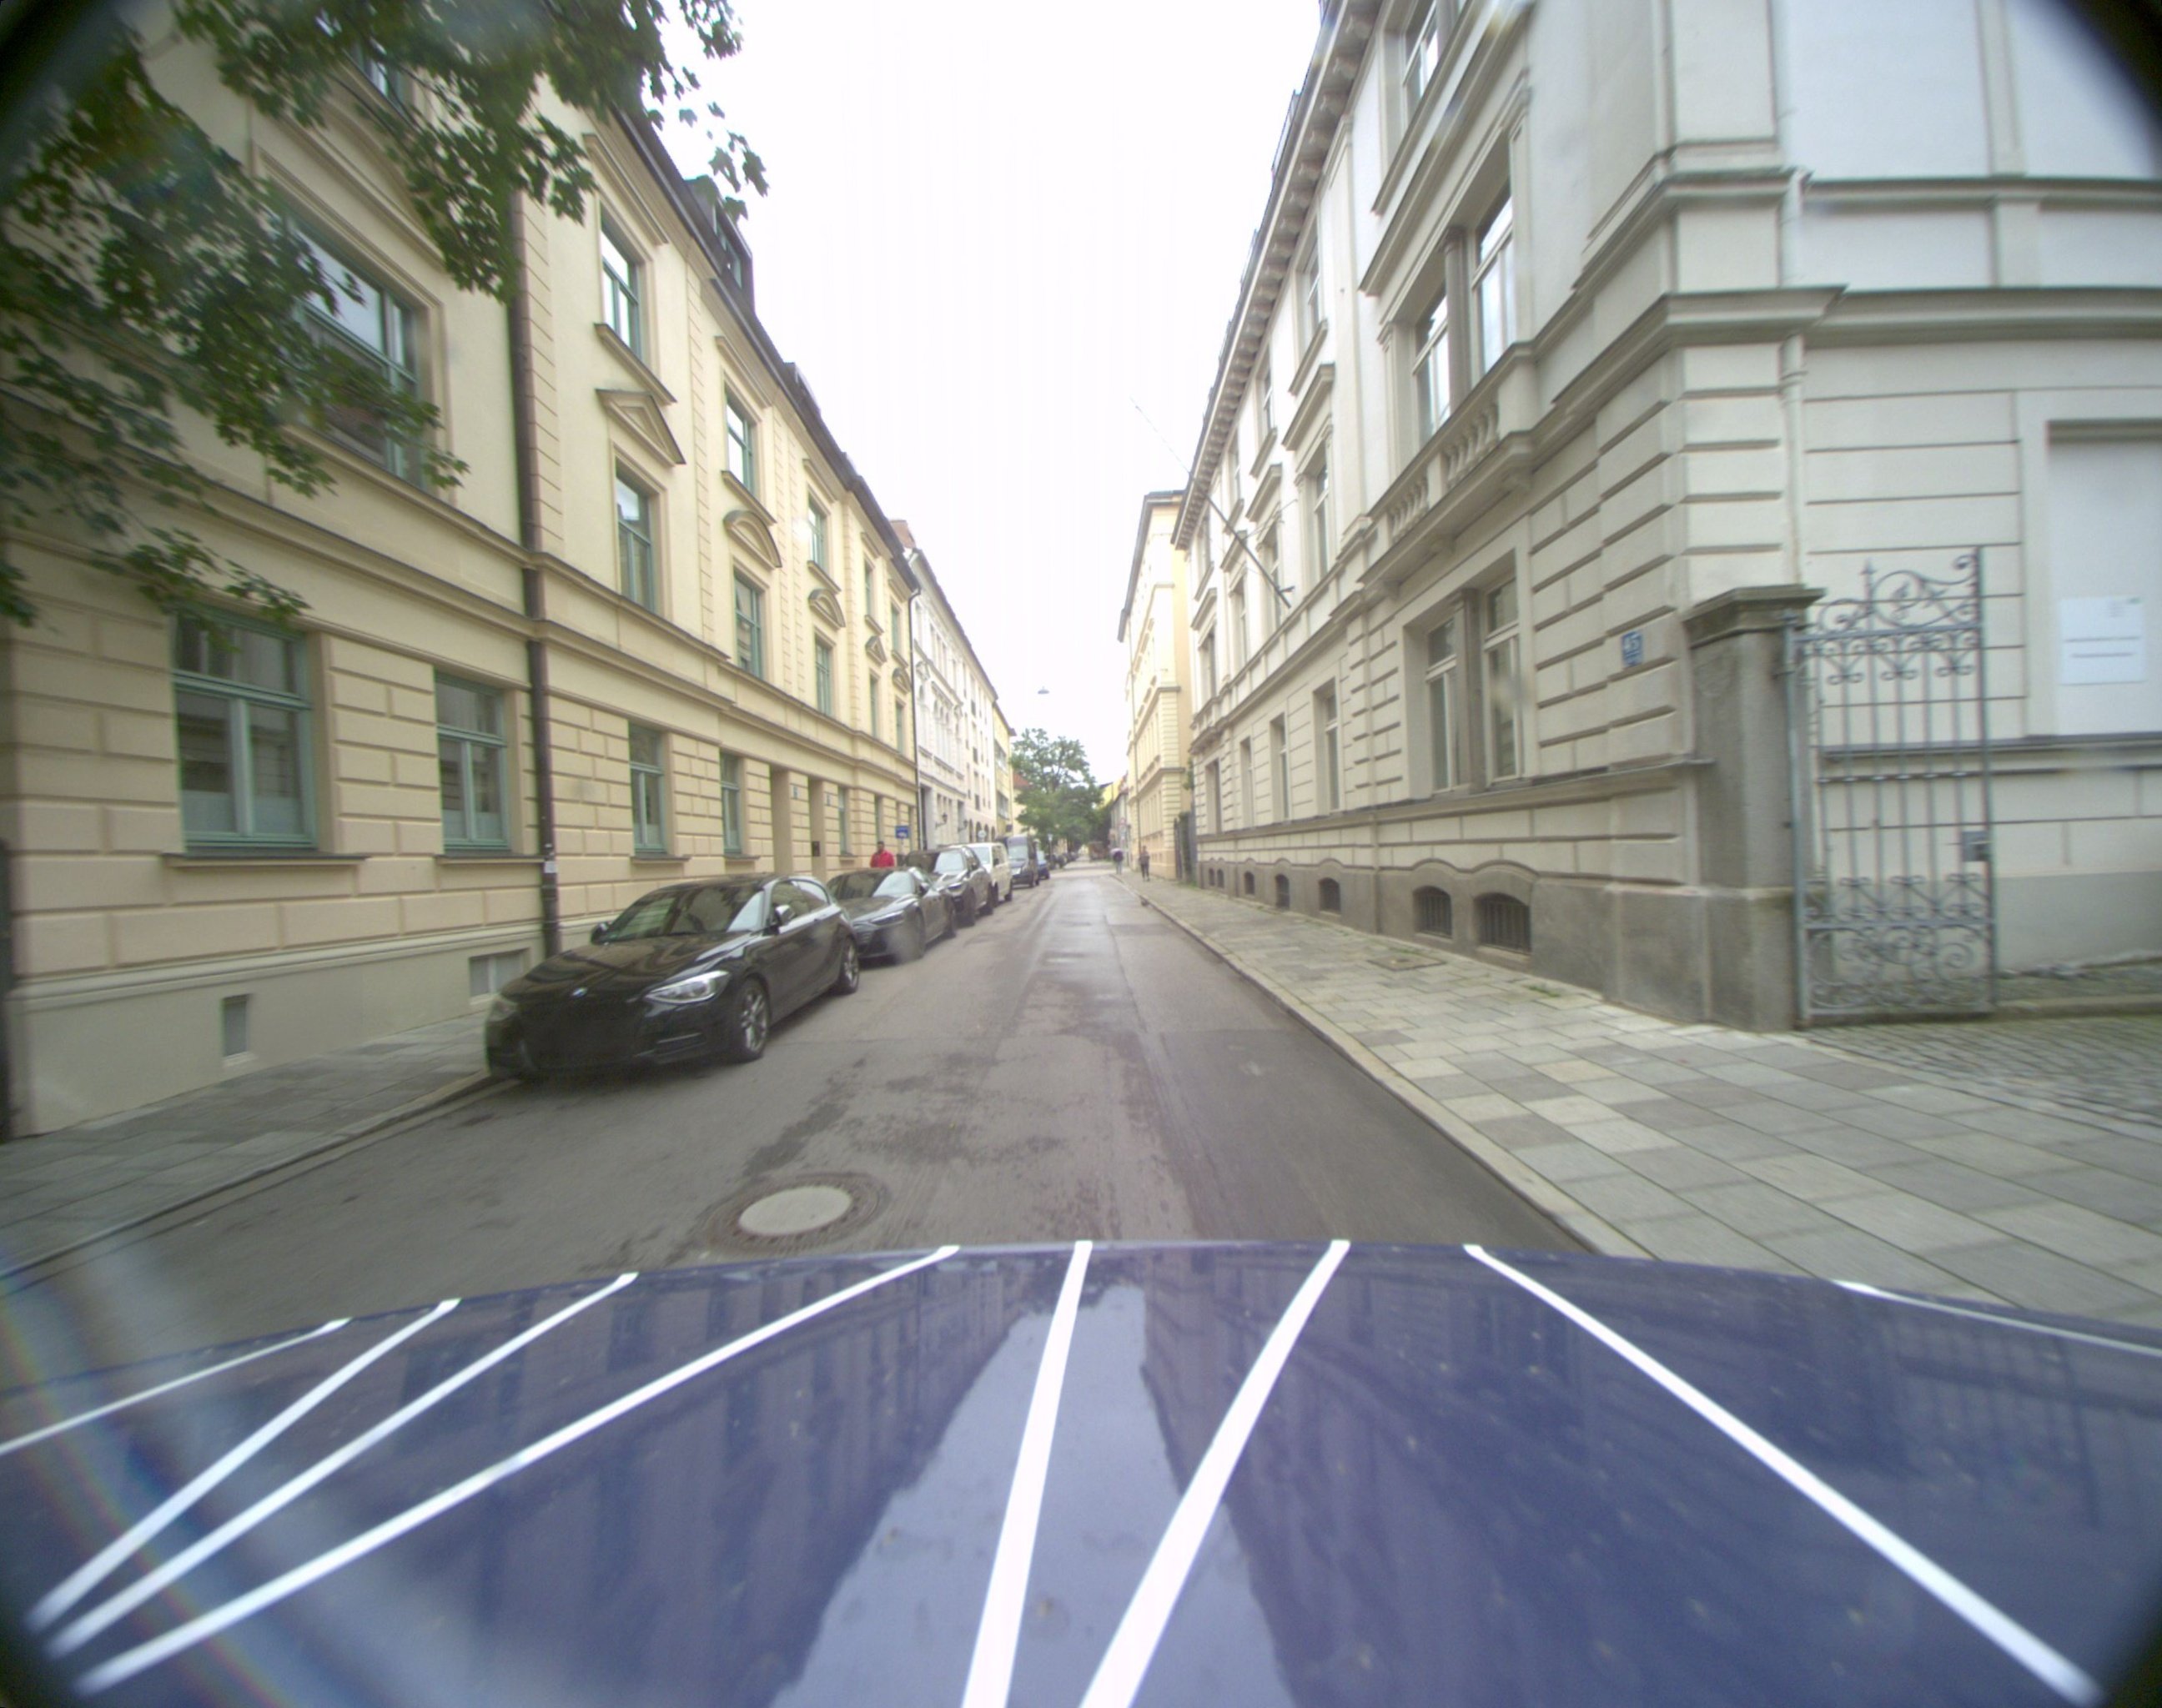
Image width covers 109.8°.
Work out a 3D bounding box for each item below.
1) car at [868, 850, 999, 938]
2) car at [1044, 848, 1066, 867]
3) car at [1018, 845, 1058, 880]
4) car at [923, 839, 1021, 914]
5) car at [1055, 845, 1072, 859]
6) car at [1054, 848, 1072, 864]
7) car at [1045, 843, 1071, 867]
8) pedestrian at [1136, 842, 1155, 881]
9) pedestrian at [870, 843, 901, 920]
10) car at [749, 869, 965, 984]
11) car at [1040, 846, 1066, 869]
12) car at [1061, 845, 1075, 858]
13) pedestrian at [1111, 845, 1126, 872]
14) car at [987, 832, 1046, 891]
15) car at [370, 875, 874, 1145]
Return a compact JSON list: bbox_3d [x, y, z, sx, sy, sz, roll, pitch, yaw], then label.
[{"bbox_3d":[-3.203,0.796,17.544,1.998,1.677,4.510,-2,0,1],"label":"car"},{"bbox_3d":[-2.949,0.393,87.664,2.014,1.969,5.090,-6,0,2],"label":"car"},{"bbox_3d":[-2.799,0.482,50.085,2.014,1.989,5.090,-6,0,2],"label":"car"},{"bbox_3d":[-3.230,0.602,23.563,1.998,2.002,5.064,-2,1,3],"label":"car"},{"bbox_3d":[-2.584,-0.318,113.898,2.014,1.969,5.090,-6,0,2],"label":"car"},{"bbox_3d":[-2.369,0.238,102.766,2.014,1.969,5.090,-6,0,2],"label":"car"},{"bbox_3d":[-2.393,0.070,79.694,2.242,2.247,5.090,-6,0,2],"label":"car"},{"bbox_3d":[2.999,0.330,35.341,0.766,1.742,0.970,-2,1,0],"label":"pedestrian"},{"bbox_3d":[-5.120,0.704,19.892,0.581,1.966,0.455,-3,1,0],"label":"pedestrian"},{"bbox_3d":[-3.277,0.996,12.232,1.998,1.306,4.593,-2,0,1],"label":"car"},{"bbox_3d":[-2.672,0.319,73.231,2.014,1.914,5.090,-6,0,2],"label":"car"},{"bbox_3d":[-2.266,-0.470,134.176,2.014,1.969,5.090,-6,0,2],"label":"car"},{"bbox_3d":[2.499,0.308,50.620,0.920,1.742,1.066,-2,1,0],"label":"pedestrian"},{"bbox_3d":[-3.006,0.320,36.665,2.014,2.479,5.090,-6,0,2],"label":"car"},{"bbox_3d":[-3.483,1.038,7.015,1.860,1.366,4.509,-5,1,-1],"label":"car"}]
